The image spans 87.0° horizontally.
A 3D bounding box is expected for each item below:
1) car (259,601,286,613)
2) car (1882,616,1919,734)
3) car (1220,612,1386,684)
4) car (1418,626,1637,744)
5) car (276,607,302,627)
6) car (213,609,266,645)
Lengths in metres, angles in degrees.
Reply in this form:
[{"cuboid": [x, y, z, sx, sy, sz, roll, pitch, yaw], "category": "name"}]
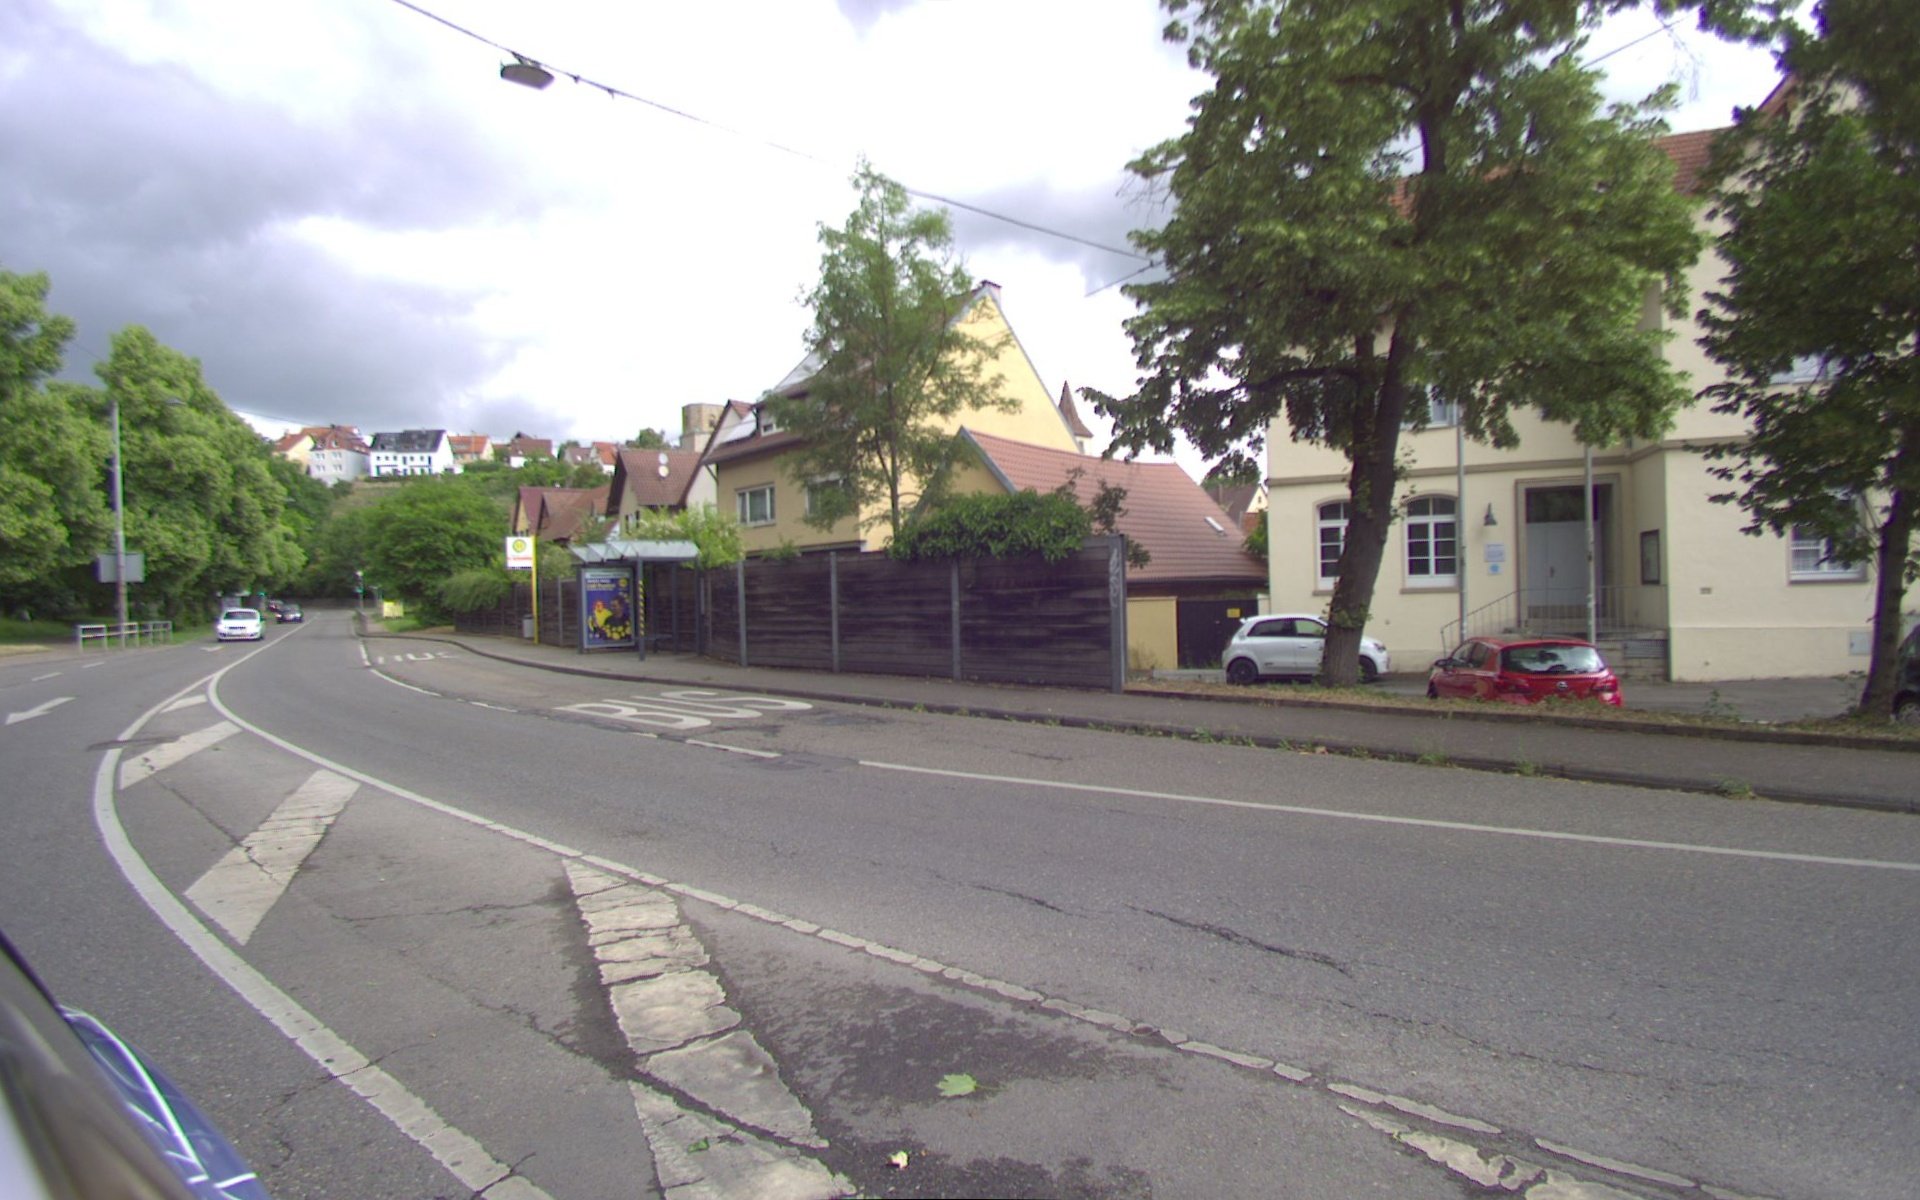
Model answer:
[{"cuboid": [-93.806, 0.978, 138.058, 3.671, 1.596, 1.746, -1, 0, 32], "category": "car"}, {"cuboid": [12.637, 0.933, 11.311, 1.626, 1.450, 3.567, -1, 0, 7], "category": "car"}, {"cuboid": [7.725, 1.055, 22.893, 3.411, 1.490, 1.600, -1, 0, 21], "category": "car"}, {"cuboid": [8.136, 1.145, 14.888, 1.644, 1.393, 3.708, -1, 0, 10], "category": "car"}, {"cuboid": [-55.925, 1.374, 84.393, 1.735, 1.596, 3.693, -1, 0, -33], "category": "car"}, {"cuboid": [-33.411, 1.223, 47.019, 1.735, 1.536, 3.694, -1, 0, -32], "category": "car"}]
